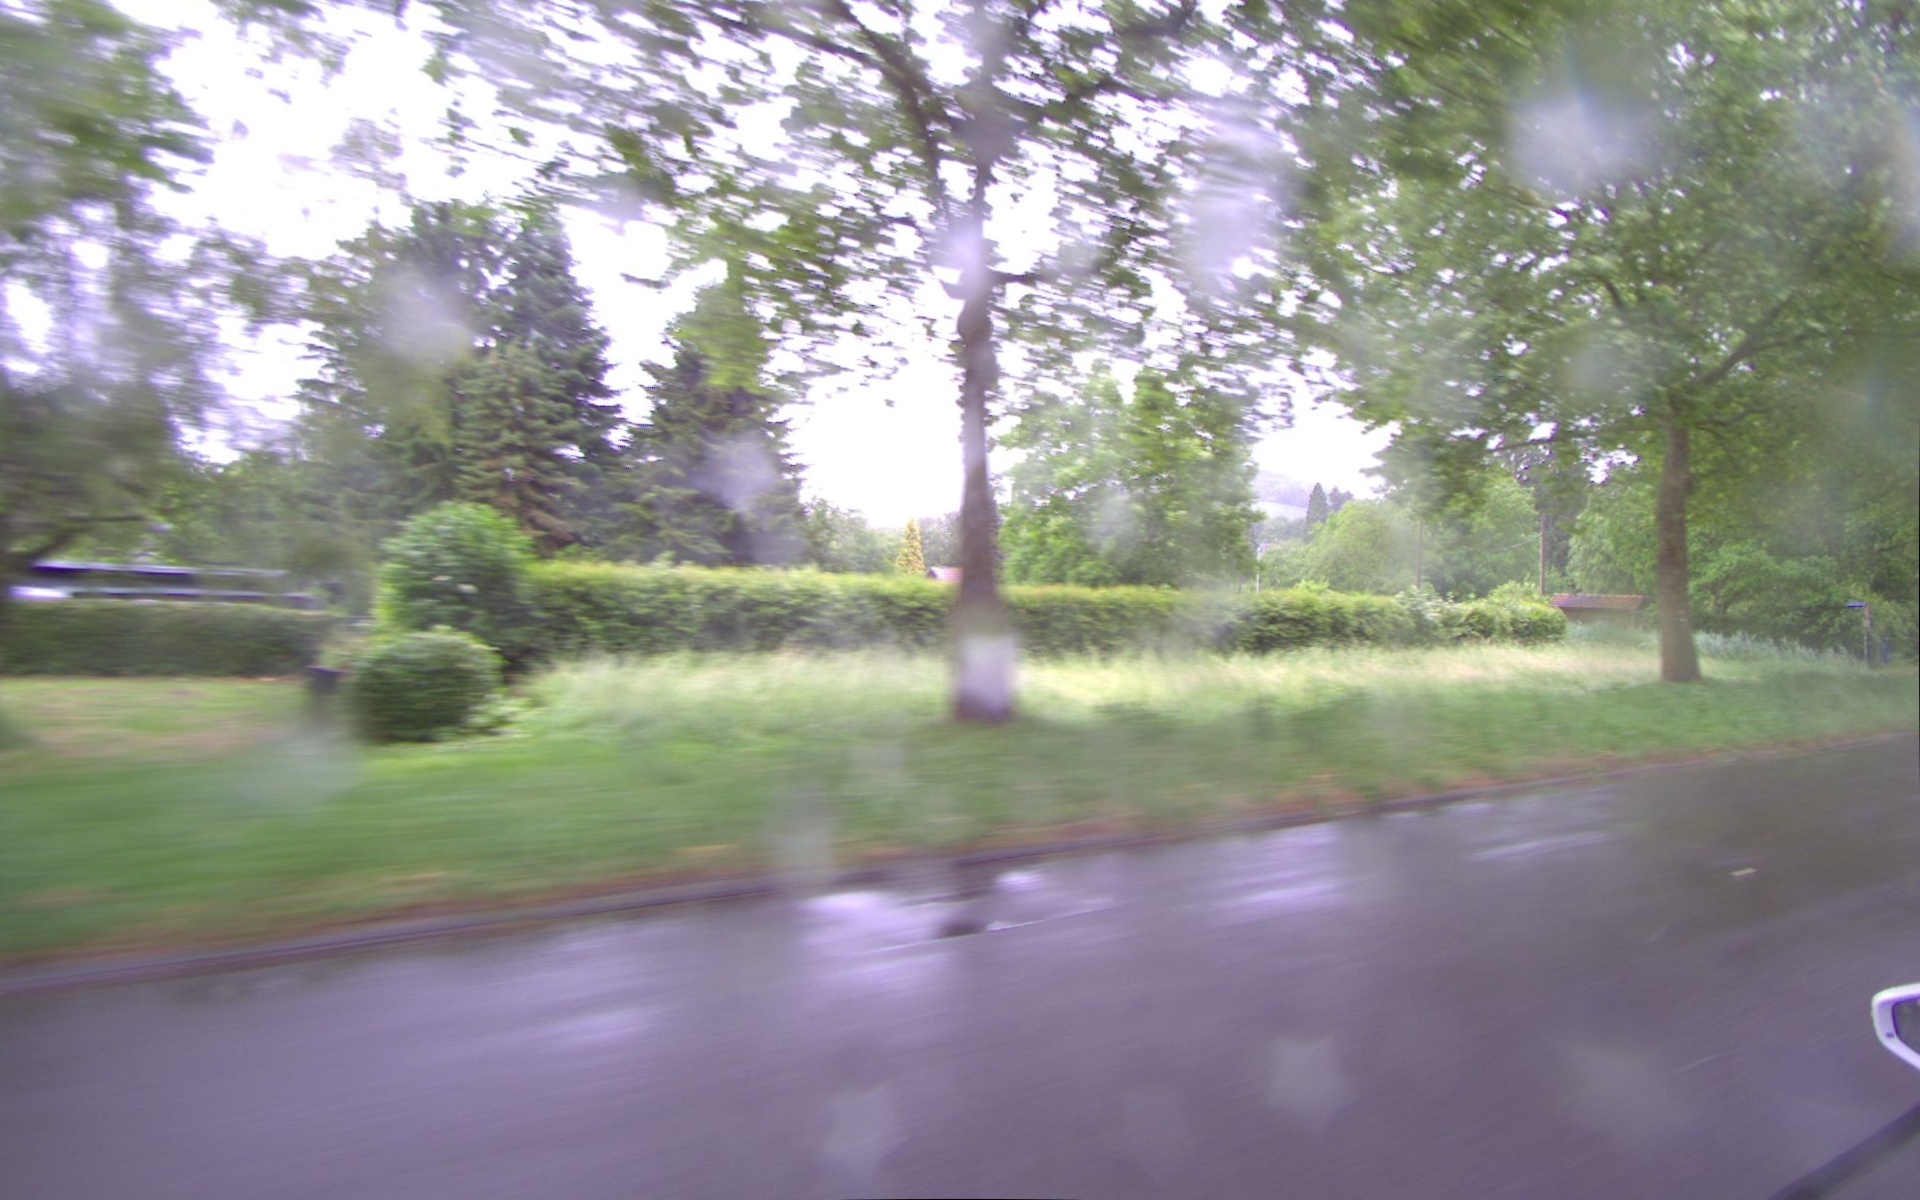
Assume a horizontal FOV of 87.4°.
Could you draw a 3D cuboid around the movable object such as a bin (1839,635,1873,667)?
[{"bbox_3d":[42.097,2.373,47.195,0.956,1.441,0.956,1,1,-35],"label":"movable object such as a bin"}]
